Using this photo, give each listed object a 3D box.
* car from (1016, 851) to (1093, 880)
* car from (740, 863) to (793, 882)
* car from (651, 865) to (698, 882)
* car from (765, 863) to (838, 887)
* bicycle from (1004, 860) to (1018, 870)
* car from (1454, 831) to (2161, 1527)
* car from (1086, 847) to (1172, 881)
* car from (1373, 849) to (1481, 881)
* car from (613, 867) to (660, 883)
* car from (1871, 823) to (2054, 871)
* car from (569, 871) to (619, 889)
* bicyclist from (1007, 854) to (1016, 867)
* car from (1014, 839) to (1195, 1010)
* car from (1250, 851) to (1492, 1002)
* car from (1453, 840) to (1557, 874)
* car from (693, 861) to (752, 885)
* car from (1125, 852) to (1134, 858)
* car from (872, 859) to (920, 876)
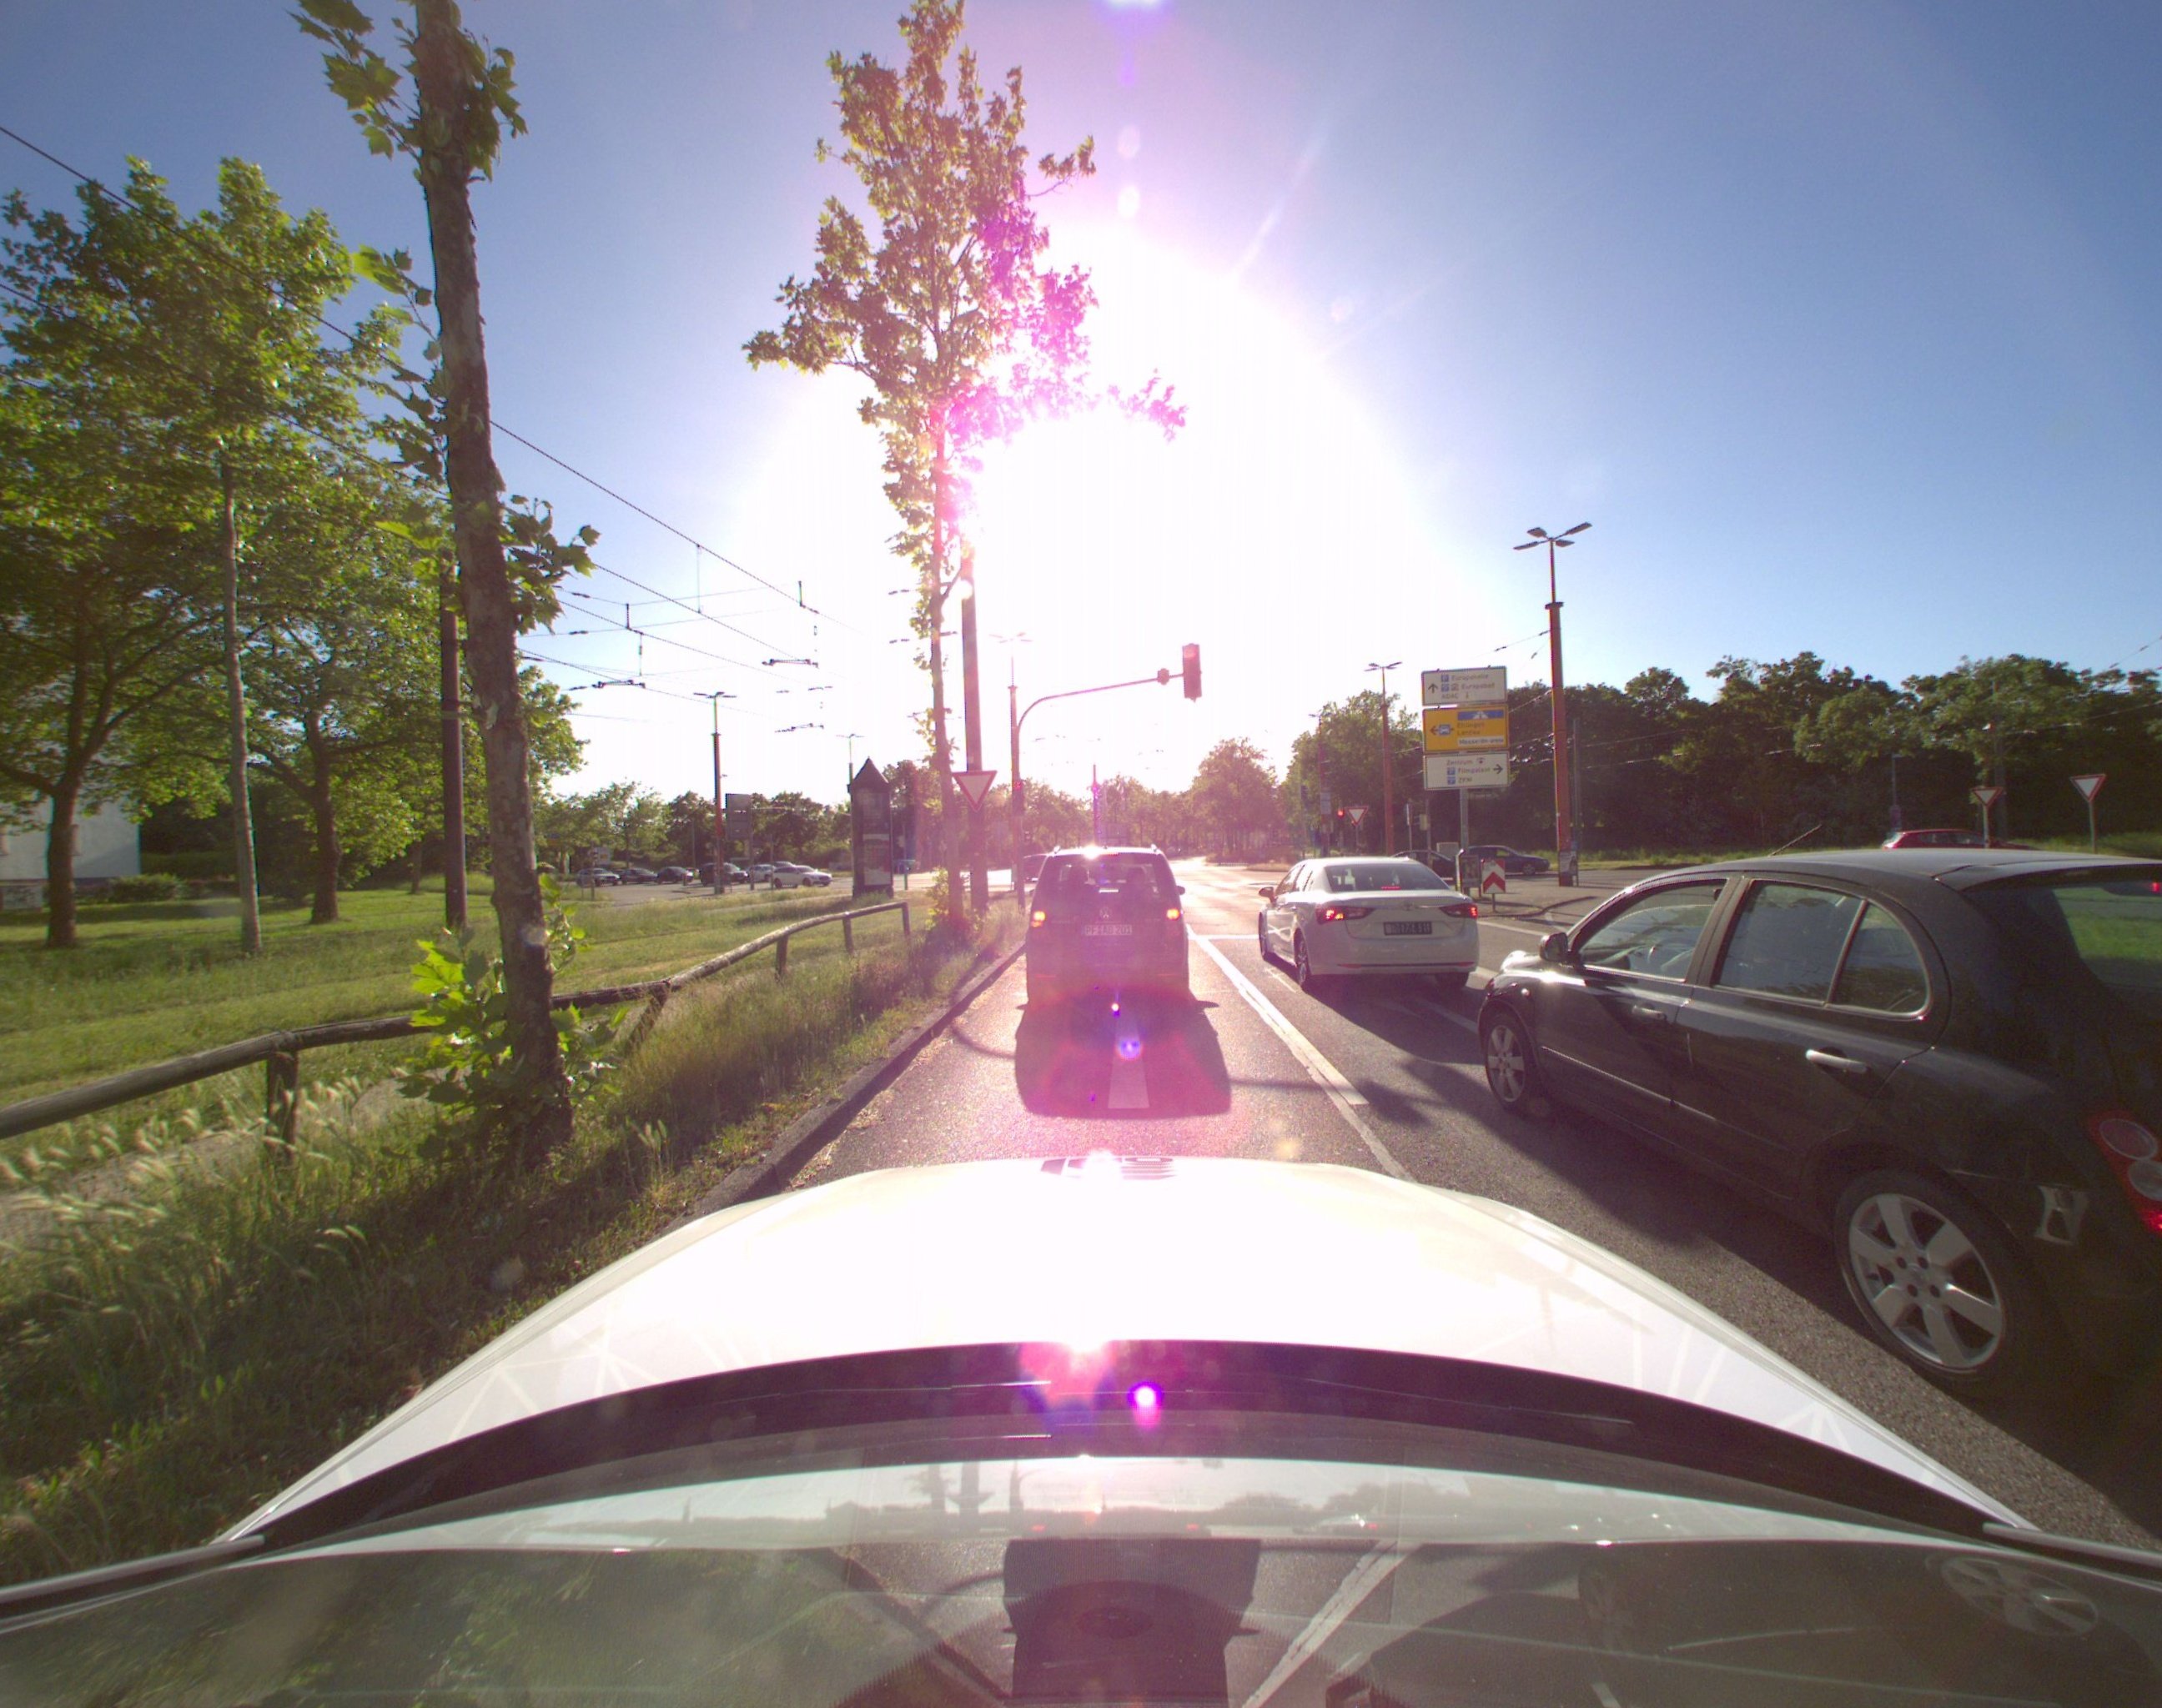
[{"bbox_3d":[-1.666,0.716,50.910,4.507,1.668,1.854,-2,0,30],"label":"car"},{"bbox_3d":[-26.778,1.594,69.261,4.169,1.464,1.926,-2,0,29],"label":"car"},{"bbox_3d":[-37.361,1.777,74.850,4.004,1.464,1.926,-2,0,28],"label":"car"},{"bbox_3d":[-19.500,1.470,56.717,4.867,1.575,2.012,-2,0,29],"label":"car"},{"bbox_3d":[-8.156,1.230,94.804,0.728,1.090,1.971,-2,0,21],"label":"bicycle"},{"bbox_3d":[3.166,0.693,3.525,1.550,1.506,3.517,-2,0,2],"label":"car"},{"bbox_3d":[2.613,0.575,44.565,4.302,1.732,1.854,-2,0,30],"label":"car"},{"bbox_3d":[15.651,0.489,36.864,4.263,1.327,1.772,-2,0,31],"label":"car"},{"bbox_3d":[-42.364,1.988,77.656,4.187,1.464,1.926,-2,0,28],"label":"car"},{"bbox_3d":[30.516,-0.226,28.369,3.949,1.494,1.782,-2,0,29],"label":"car"},{"bbox_3d":[-45.644,2.411,76.319,4.735,1.598,1.926,-2,0,29],"label":"car"},{"bbox_3d":[-8.125,0.763,95.025,0.686,1.457,0.879,-2,-1,20],"label":"bicyclist"},{"bbox_3d":[0.293,0.695,10.001,1.731,1.641,4.002,-2,0,2],"label":"car"},{"bbox_3d":[3.295,0.718,10.129,1.708,1.454,4.147,-2,0,3],"label":"car"},{"bbox_3d":[20.031,0.127,38.514,4.179,1.479,1.765,-2,0,32],"label":"car"},{"bbox_3d":[-29.398,1.553,66.787,4.735,1.836,1.926,-2,0,29],"label":"car"},{"bbox_3d":[10.616,0.136,178.136,1.649,1.310,3.822,-2,0,7],"label":"car"},{"bbox_3d":[-18.422,1.357,81.124,4.411,1.596,2.012,-2,0,28],"label":"car"}]
